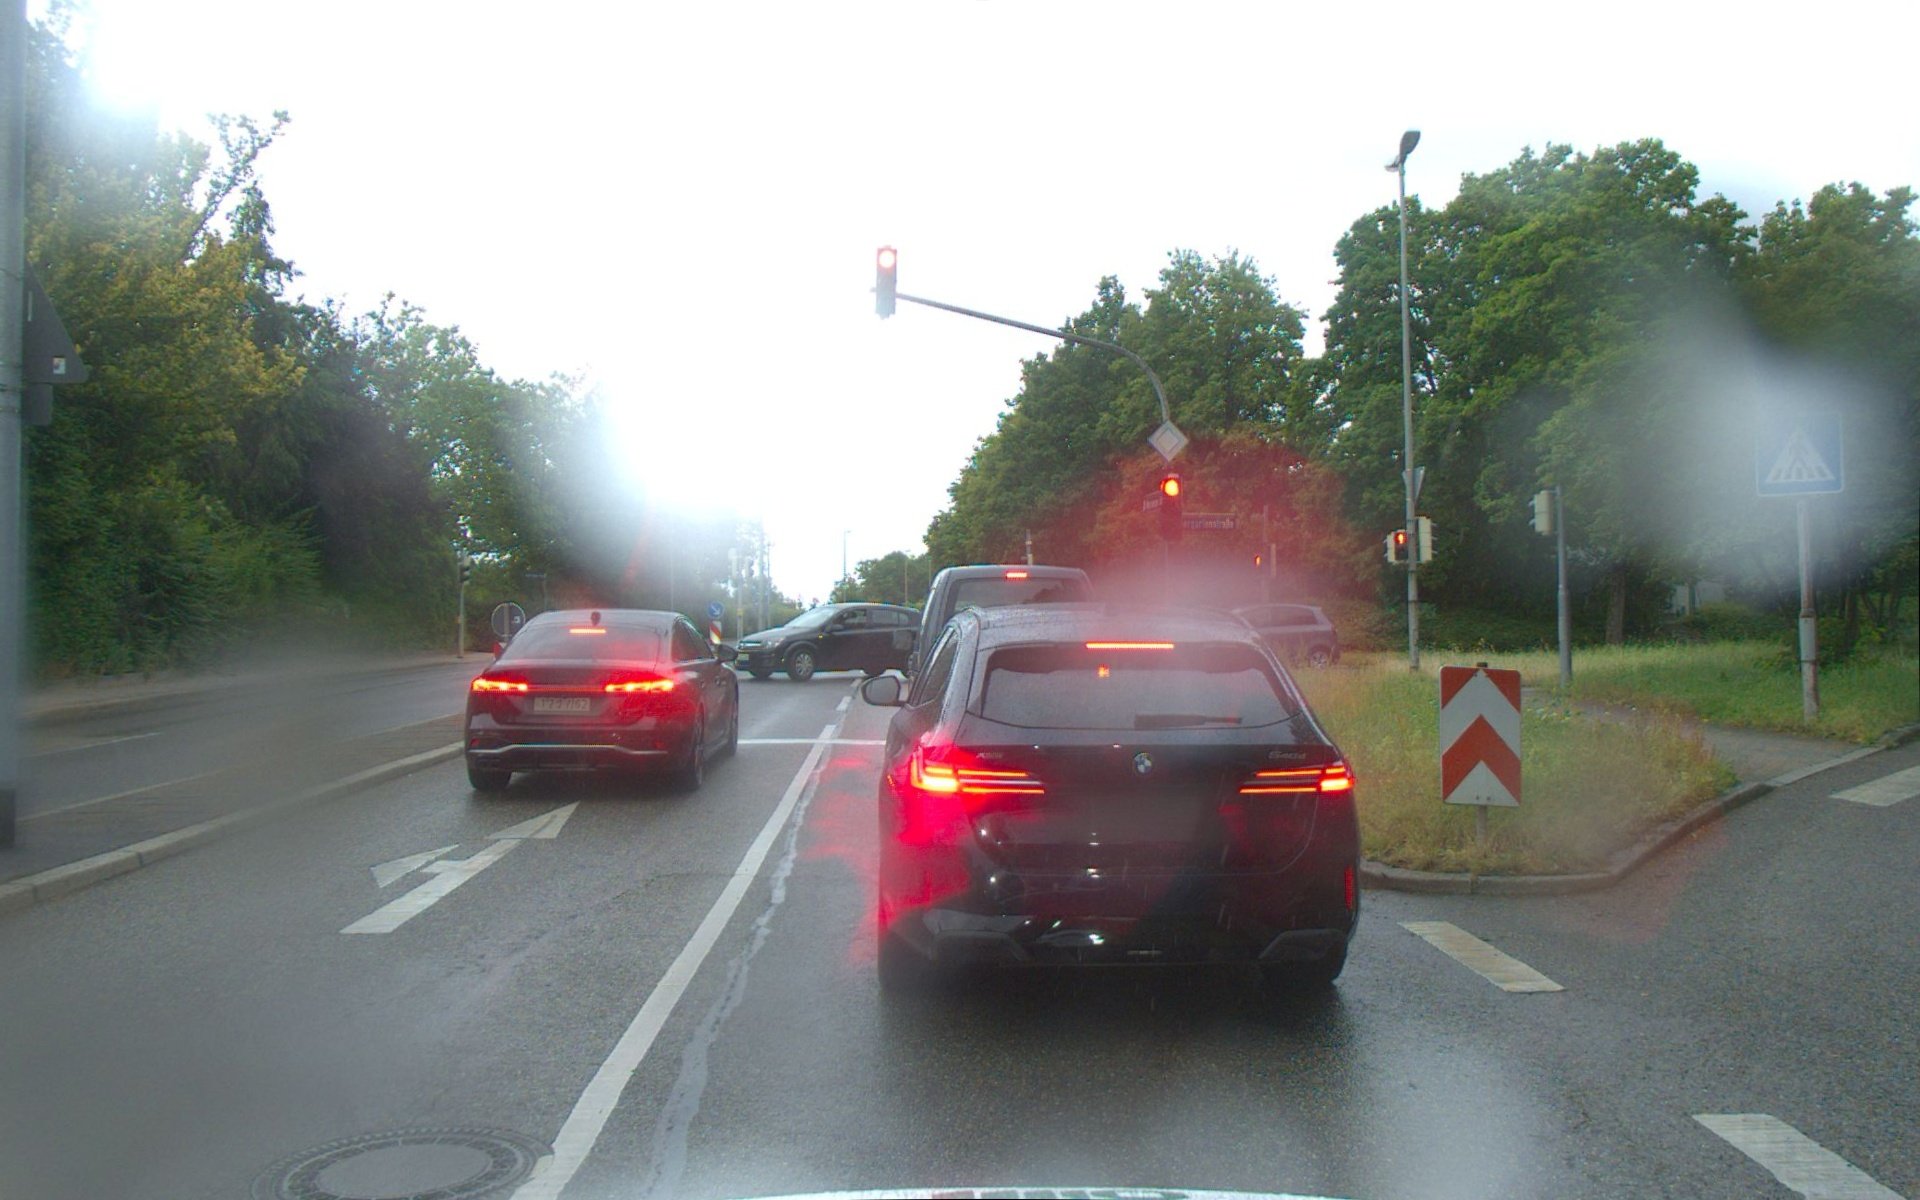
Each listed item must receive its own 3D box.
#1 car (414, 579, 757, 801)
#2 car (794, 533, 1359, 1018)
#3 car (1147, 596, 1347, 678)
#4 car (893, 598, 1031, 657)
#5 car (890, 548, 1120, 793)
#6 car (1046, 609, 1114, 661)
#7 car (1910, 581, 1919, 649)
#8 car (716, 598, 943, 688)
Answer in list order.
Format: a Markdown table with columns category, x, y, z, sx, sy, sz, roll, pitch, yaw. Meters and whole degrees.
| category | x | y | z | sx | sy | sz | roll | pitch | yaw |
| --- | --- | --- | --- | --- | --- | --- | --- | --- | --- |
| car | -3.004 | 0.680 | 14.254 | 1.953 | 1.554 | 4.327 | -2 | -1 | 0 |
| car | 0.491 | 0.627 | 7.809 | 1.858 | 1.578 | 4.616 | 1 | -1 | 3 |
| car | 6.279 | 0.788 | 36.317 | 3.951 | 1.630 | 1.741 | -2 | 0 | -15 |
| car | 0.026 | 0.736 | 43.819 | 1.691 | 1.452 | 3.455 | -1 | -1 | -45 |
| car | 0.341 | 0.573 | 14.906 | 1.781 | 1.901 | 3.952 | 1 | -1 | 0 |
| car | 3.879 | 1.128 | 54.024 | 1.835 | 1.570 | 3.952 | -2 | -1 | 0 |
| car | 26.894 | 0.326 | 42.006 | 4.617 | 1.747 | 1.995 | -1 | 0 | -11 |
| car | -2.491 | 0.795 | 31.835 | 3.952 | 1.535 | 1.879 | -2 | 0 | -34 |
